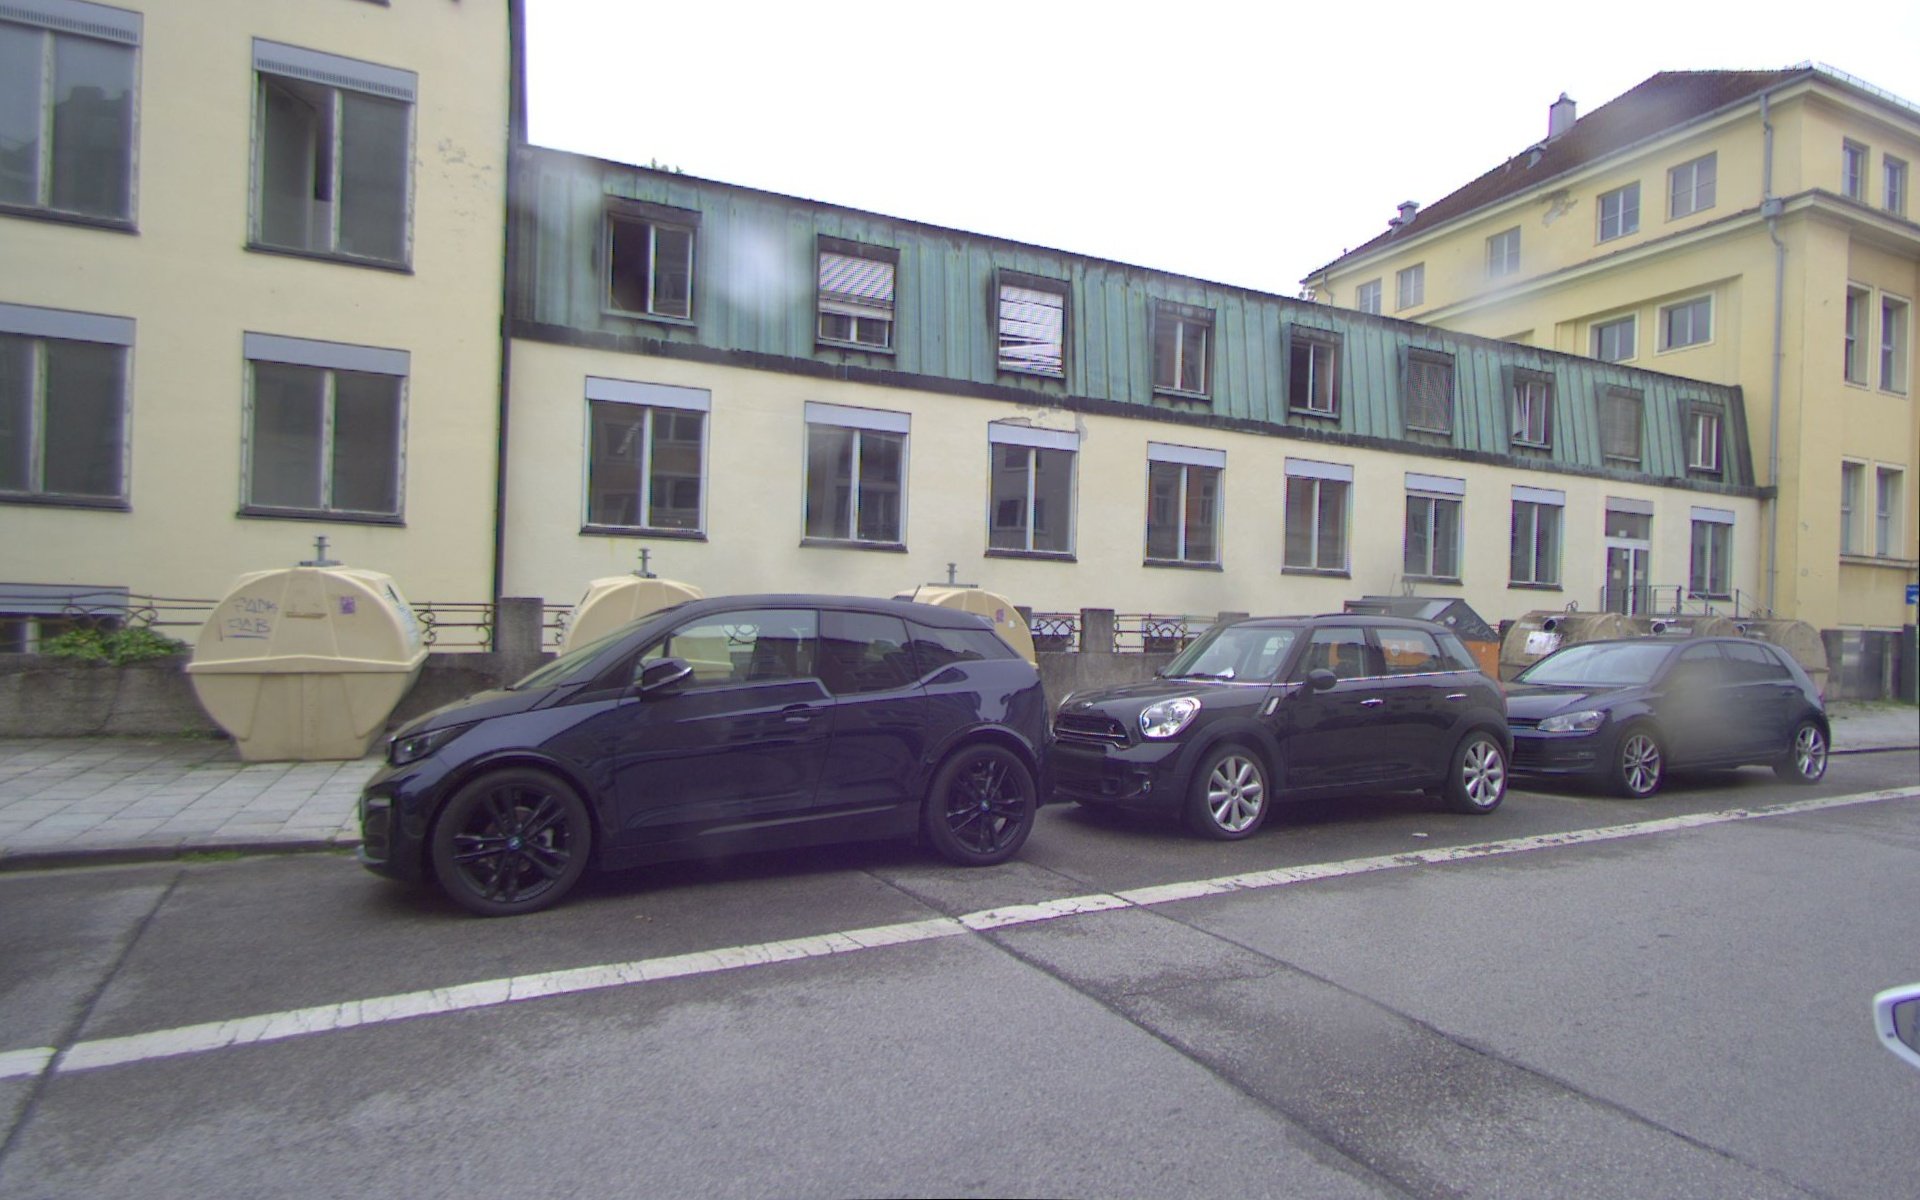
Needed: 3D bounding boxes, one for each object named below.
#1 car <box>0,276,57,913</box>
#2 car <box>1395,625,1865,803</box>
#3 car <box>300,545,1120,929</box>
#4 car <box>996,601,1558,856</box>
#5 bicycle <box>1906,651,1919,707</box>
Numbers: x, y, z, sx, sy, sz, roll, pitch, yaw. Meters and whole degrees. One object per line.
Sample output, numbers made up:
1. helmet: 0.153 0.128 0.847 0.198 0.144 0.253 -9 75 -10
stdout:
1. car: -6.782 -0.104 2.642 6.129 2.891 2.201 3 -3 -33
2. car: 6.850 1.065 10.269 4.468 1.501 1.909 2 -3 -24
3. car: -1.323 0.698 6.170 4.292 1.657 1.874 2 -3 -26
4. car: 2.623 0.904 8.222 4.297 1.608 1.907 1 -3 -28
5. bicycle: 21.885 1.764 22.298 2.077 1.201 0.534 2 0 -25
